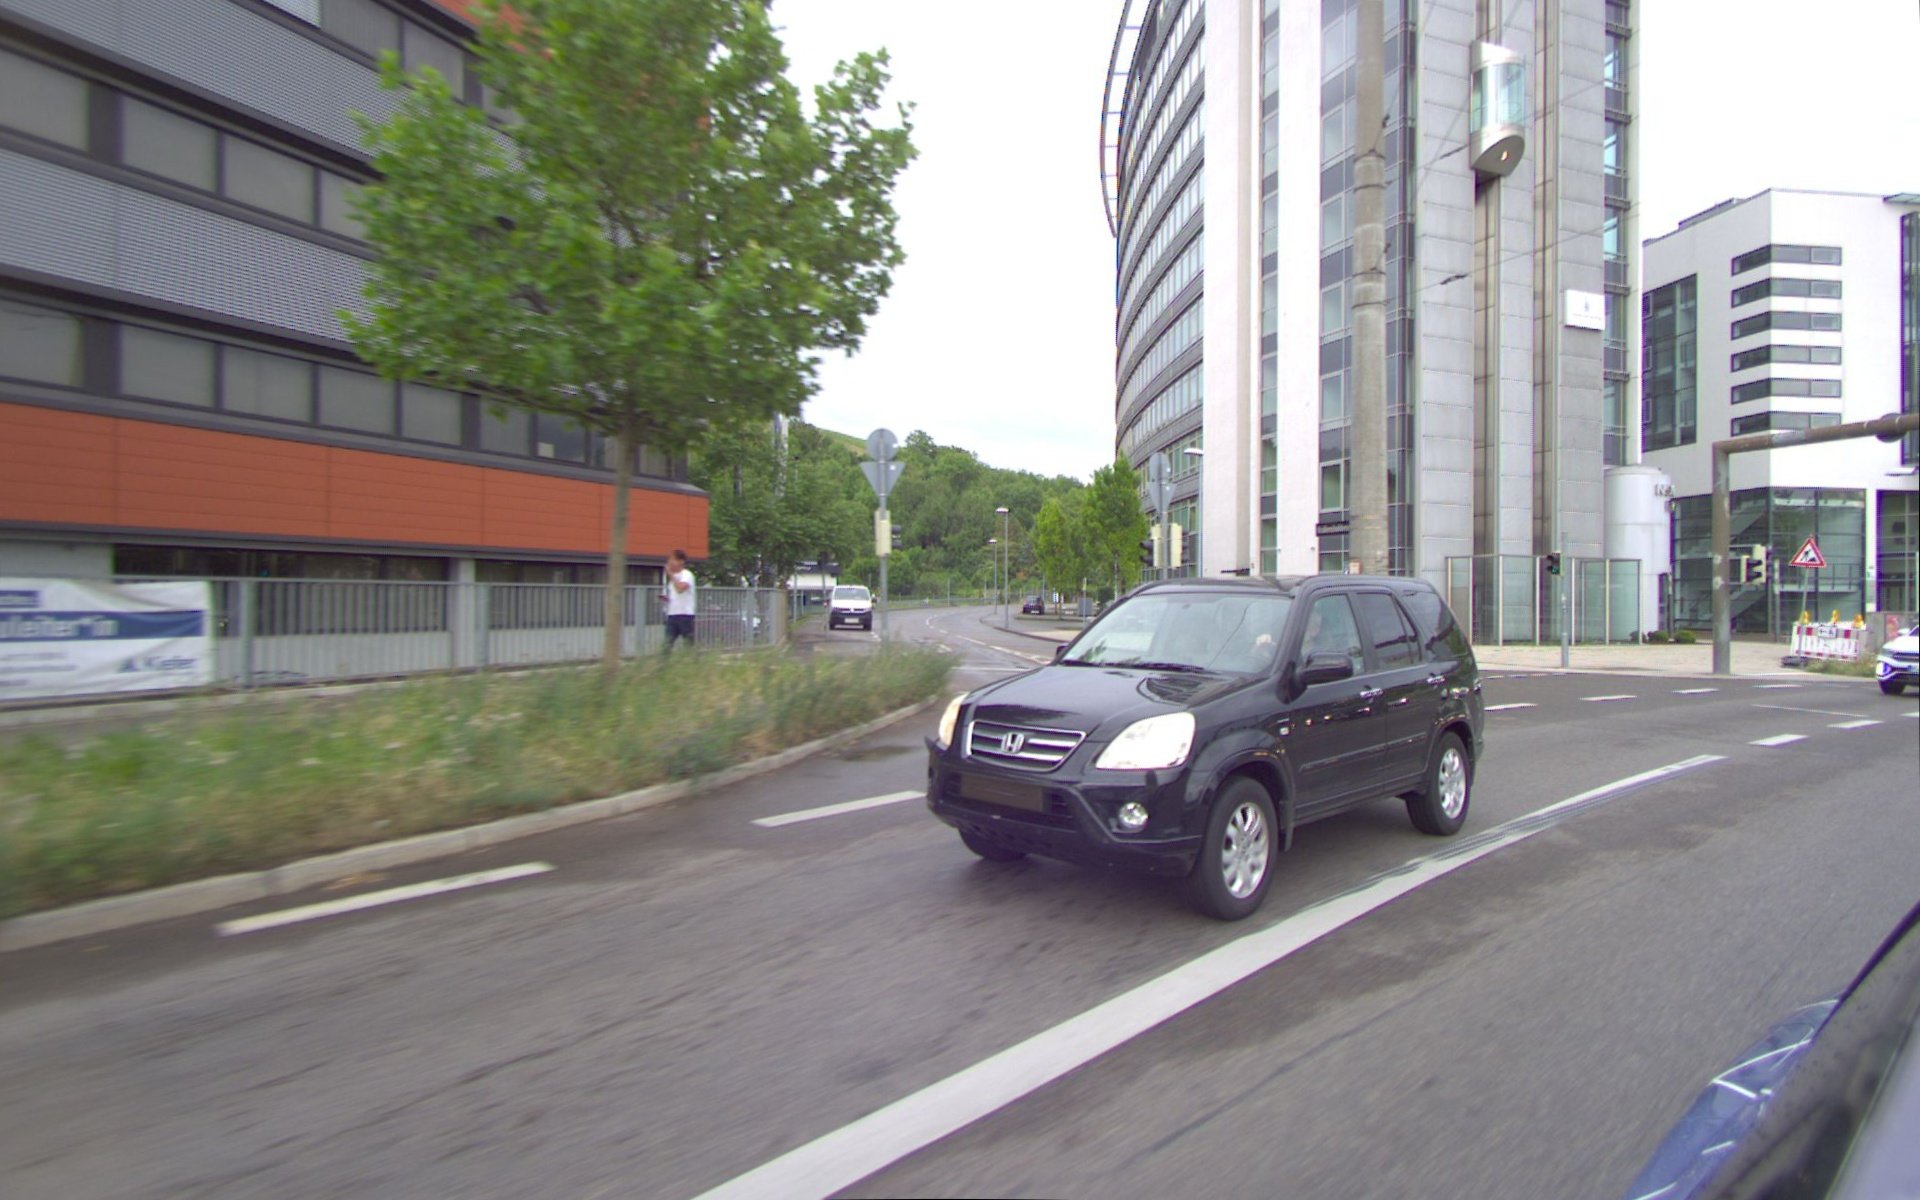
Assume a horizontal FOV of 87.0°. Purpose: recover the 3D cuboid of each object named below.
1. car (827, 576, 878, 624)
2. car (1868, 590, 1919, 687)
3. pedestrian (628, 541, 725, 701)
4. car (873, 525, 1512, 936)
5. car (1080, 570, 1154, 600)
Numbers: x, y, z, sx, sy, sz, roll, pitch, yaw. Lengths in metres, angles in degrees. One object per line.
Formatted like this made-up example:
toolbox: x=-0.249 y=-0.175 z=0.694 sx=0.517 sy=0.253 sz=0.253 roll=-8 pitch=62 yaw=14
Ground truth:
car: x=-4.913 y=0.034 z=45.682 sx=1.959 sy=1.940 sz=5.088 roll=3 pitch=-1 yaw=-8
car: x=18.589 y=0.678 z=18.257 sx=3.743 sy=1.700 sz=2.003 roll=0 pitch=0 yaw=-26
pedestrian: x=-4.054 y=0.290 z=14.410 sx=1.196 sy=2.152 sz=1.150 roll=2 pitch=0 yaw=-18
car: x=1.673 y=0.590 z=6.200 sx=4.252 sy=1.651 sz=1.766 roll=2 pitch=-3 yaw=-44
car: x=7.683 y=-0.714 z=49.900 sx=1.861 sy=1.330 sz=4.332 roll=-1 pitch=-1 yaw=-17
